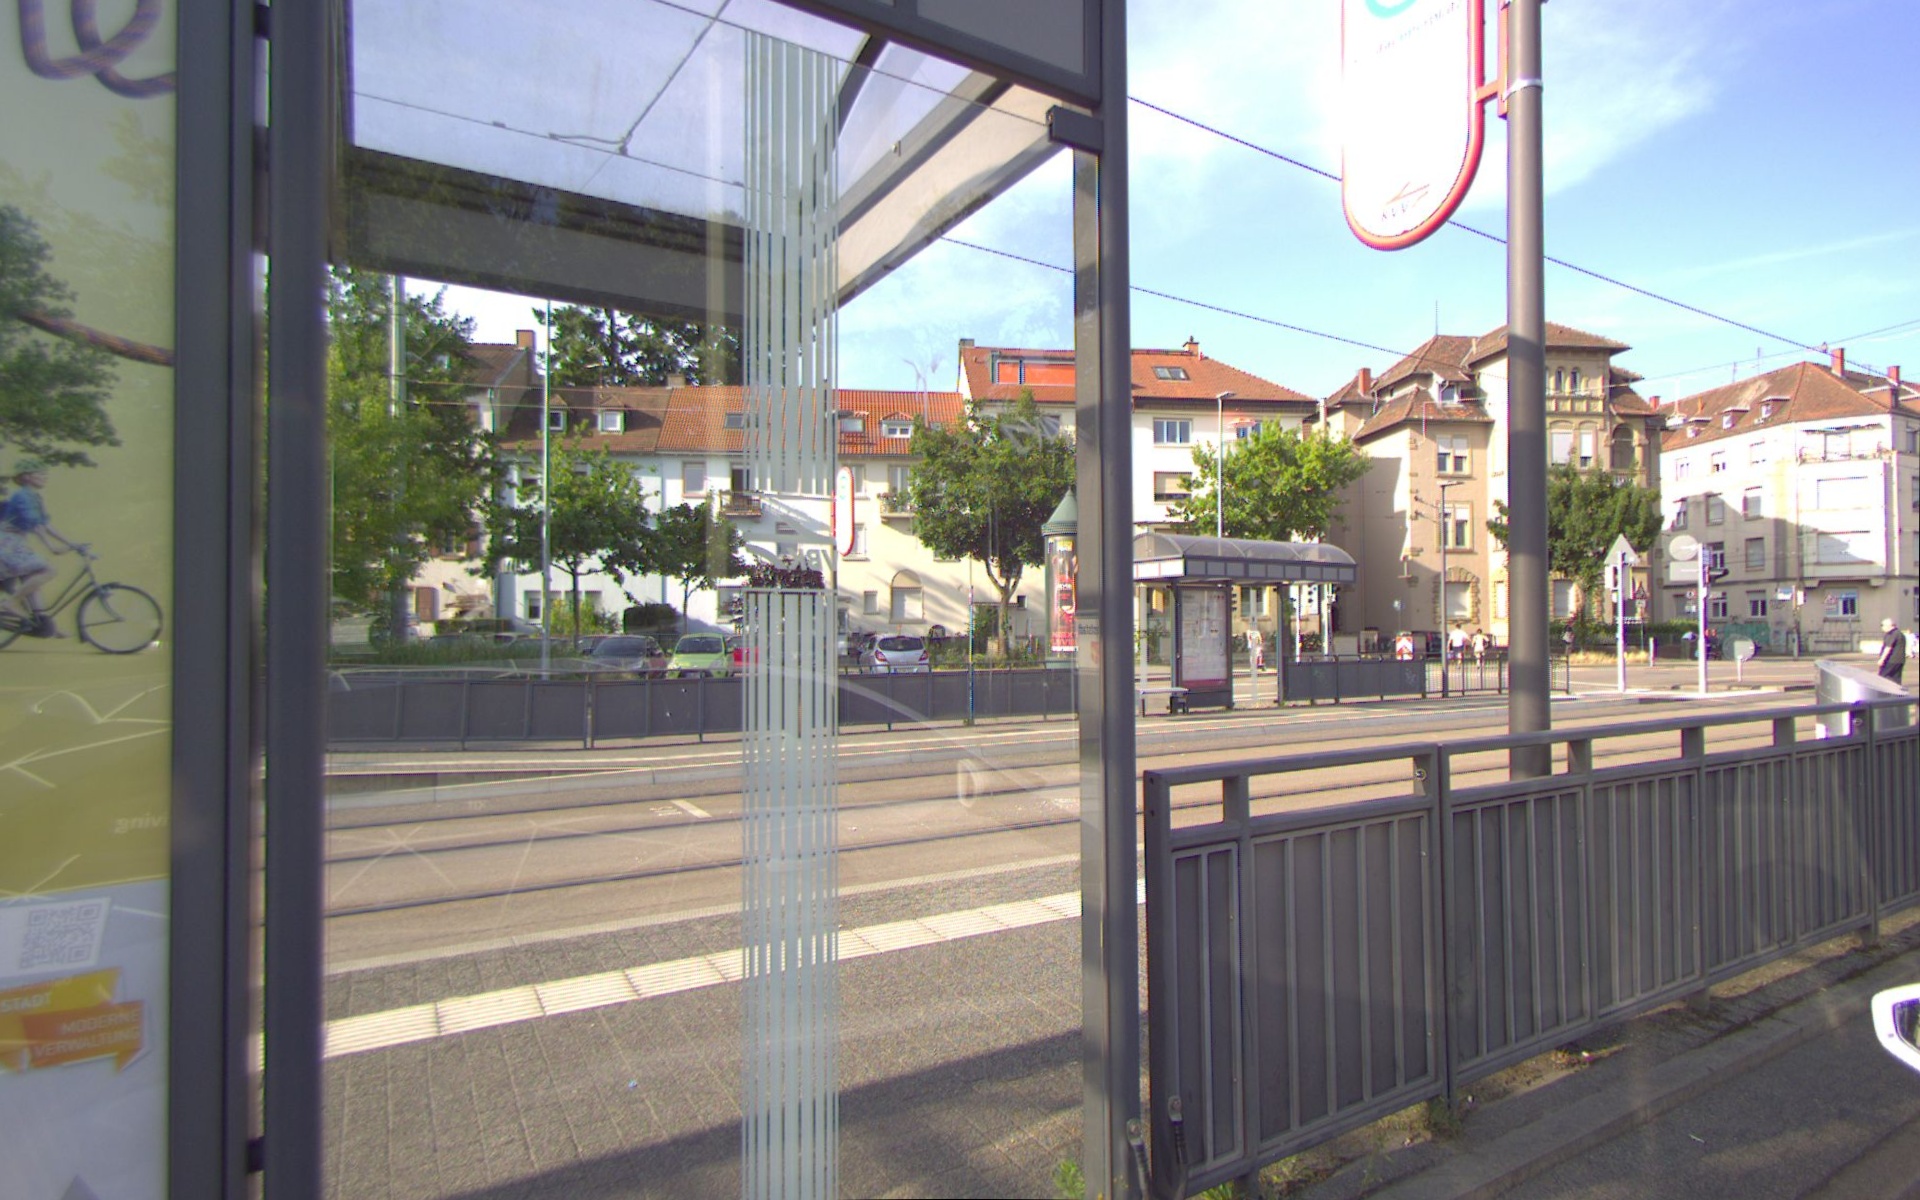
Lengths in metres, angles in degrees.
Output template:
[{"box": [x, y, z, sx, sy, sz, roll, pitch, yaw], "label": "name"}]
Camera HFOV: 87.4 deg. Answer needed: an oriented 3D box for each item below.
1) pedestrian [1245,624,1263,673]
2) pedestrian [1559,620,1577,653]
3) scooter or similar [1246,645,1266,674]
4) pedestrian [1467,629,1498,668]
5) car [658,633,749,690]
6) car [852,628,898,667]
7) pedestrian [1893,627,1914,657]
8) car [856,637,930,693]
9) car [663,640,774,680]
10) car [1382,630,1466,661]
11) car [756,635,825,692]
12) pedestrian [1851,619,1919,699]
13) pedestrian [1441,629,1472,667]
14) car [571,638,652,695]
[{"box": [10.751, 1.771, 36.687, 0.538, 1.769, 0.763, -1, -2, 23], "label": "pedestrian"}, {"box": [27.868, 1.677, 46.009, 0.540, 1.520, 0.437, 0, -2, -16], "label": "pedestrian"}, {"box": [10.551, 2.101, 35.787, 0.547, 1.001, 1.023, -1, -2, 23], "label": "scooter or similar"}, {"box": [21.280, 1.968, 40.930, 0.768, 1.572, 0.831, 0, -2, -9], "label": "pedestrian"}, {"box": [-7.236, 1.719, 28.710, 1.813, 1.505, 3.999, 0, -2, -4], "label": "car"}, {"box": [-3.897, 2.143, 45.700, 1.963, 1.684, 3.996, 0, -2, -7], "label": "car"}, {"box": [49.119, 2.194, 52.293, 0.702, 1.561, 0.626, 1, -2, -31], "label": "pedestrian"}, {"box": [-2.027, 1.845, 29.333, 1.815, 1.505, 3.994, 0, -2, -9], "label": "car"}, {"box": [-8.987, 2.218, 37.685, 3.927, 1.416, 1.836, 0, -2, -10], "label": "car"}, {"box": [22.503, 2.179, 48.887, 1.732, 1.327, 4.111, 1, 0, -8], "label": "car"}, {"box": [-4.839, 1.770, 28.766, 1.815, 1.505, 3.994, 0, -2, -9], "label": "car"}, {"box": [19.765, 1.243, 21.488, 0.778, 1.667, 0.757, -1, -2, 16], "label": "pedestrian"}, {"box": [20.637, 1.997, 41.765, 0.768, 1.572, 0.831, 0, -2, -9], "label": "pedestrian"}, {"box": [-9.546, 1.776, 27.686, 1.968, 1.416, 3.985, 0, -2, -18], "label": "car"}]
